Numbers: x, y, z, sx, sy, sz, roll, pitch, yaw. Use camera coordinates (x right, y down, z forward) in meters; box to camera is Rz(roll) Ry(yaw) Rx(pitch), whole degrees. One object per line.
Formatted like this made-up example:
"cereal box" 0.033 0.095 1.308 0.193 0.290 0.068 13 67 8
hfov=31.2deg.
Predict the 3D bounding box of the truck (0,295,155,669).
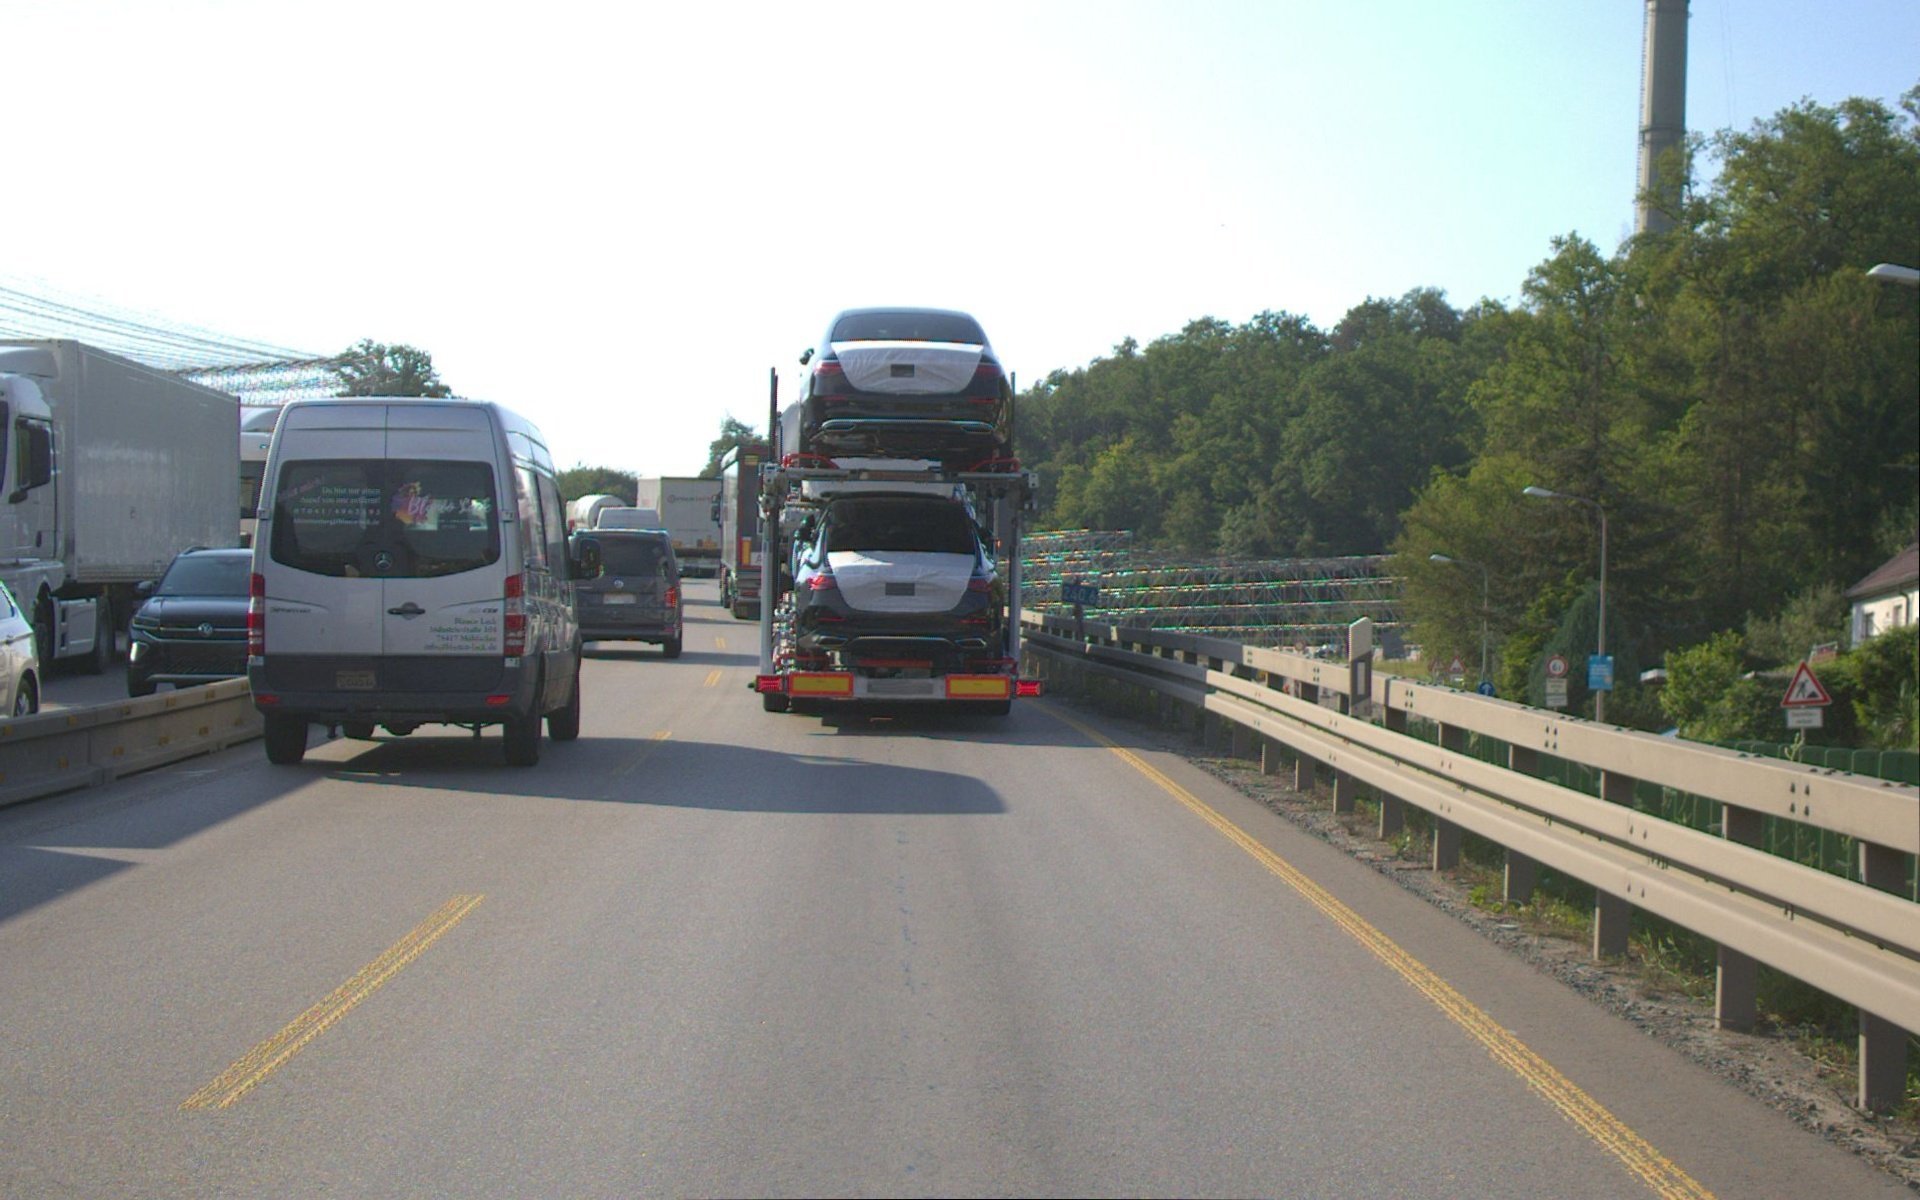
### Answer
"truck" -11.645 -1.365 40.787 2.709 4.079 6.204 4 0 -3

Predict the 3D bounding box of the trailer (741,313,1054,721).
"trailer" -0.678 -0.684 37.497 2.682 3.523 15.288 1 0 -1

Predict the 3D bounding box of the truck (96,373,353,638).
"truck" -12.661 -1.573 59.827 2.982 4.139 7.393 4 0 -3

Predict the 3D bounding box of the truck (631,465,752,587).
"truck" -11.237 -3.029 142.710 4.064 4.663 10.594 3 0 -8

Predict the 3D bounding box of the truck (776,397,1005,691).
"truck" -1.023 -0.658 45.074 2.682 3.523 7.194 1 0 -3

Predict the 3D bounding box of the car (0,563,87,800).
"car" -7.074 0.489 22.032 1.772 1.532 4.402 2 0 0

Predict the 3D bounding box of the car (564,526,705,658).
"car" -5.128 -0.097 54.573 1.808 1.897 4.000 4 -1 -1

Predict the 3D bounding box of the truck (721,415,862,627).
"truck" -3.939 -1.807 80.725 2.907 4.591 7.287 3 0 -2

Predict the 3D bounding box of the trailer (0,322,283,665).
"trailer" -11.954 -1.322 48.214 2.709 4.079 12.570 4 0 -3

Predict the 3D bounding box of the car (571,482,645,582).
"car" -19.027 -3.654 185.115 3.444 5.018 9.655 4 0 -7

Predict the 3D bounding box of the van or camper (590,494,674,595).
"van or camper" -9.151 -1.519 96.289 1.968 2.583 5.042 4 0 -3

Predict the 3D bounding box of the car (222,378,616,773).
"car" -4.012 -0.196 26.497 1.993 2.639 5.530 3 1 1

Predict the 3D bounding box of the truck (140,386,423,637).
"truck" -12.989 -1.602 67.489 2.982 4.139 15.857 4 0 -3

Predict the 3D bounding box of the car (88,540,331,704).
"car" -7.862 0.234 36.327 1.661 1.525 4.000 4 0 -1
